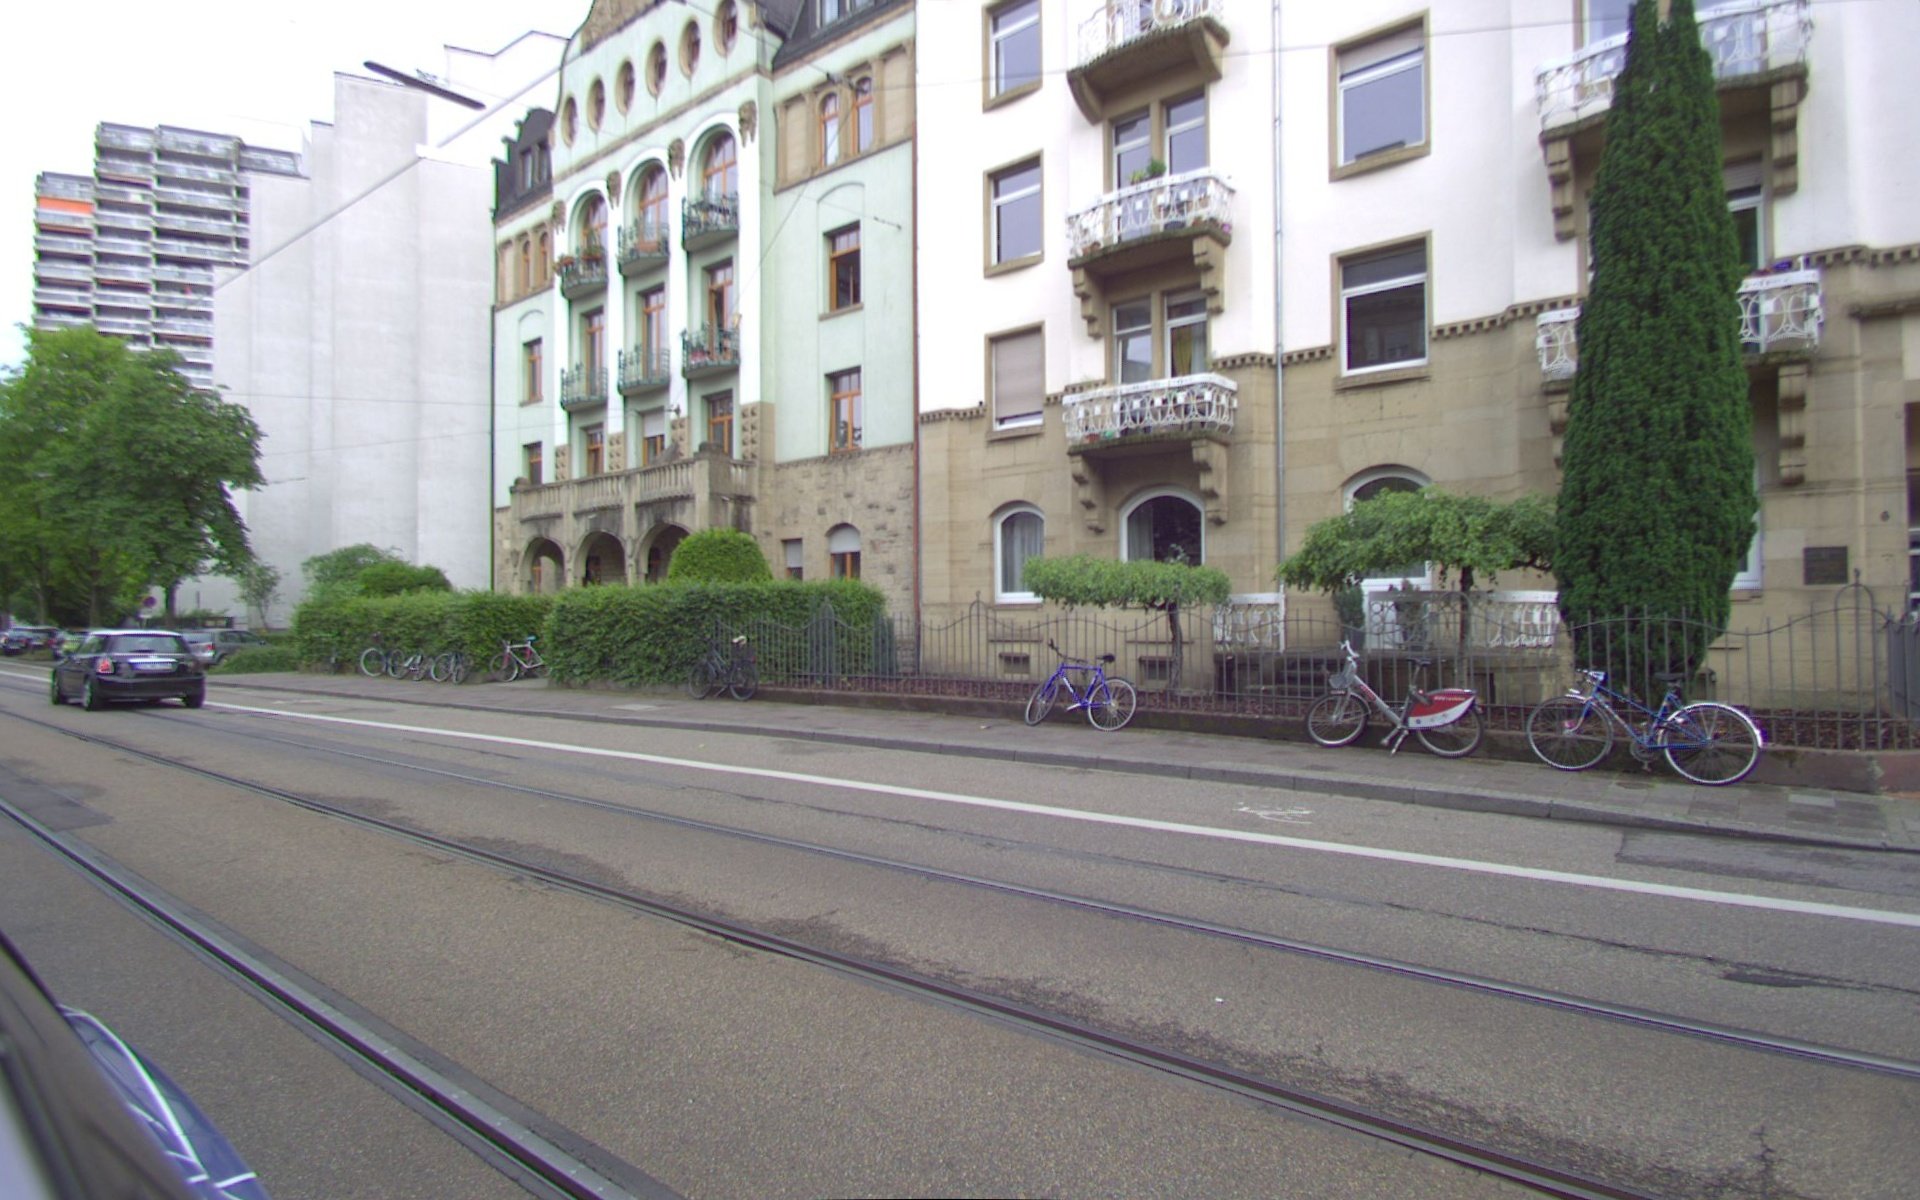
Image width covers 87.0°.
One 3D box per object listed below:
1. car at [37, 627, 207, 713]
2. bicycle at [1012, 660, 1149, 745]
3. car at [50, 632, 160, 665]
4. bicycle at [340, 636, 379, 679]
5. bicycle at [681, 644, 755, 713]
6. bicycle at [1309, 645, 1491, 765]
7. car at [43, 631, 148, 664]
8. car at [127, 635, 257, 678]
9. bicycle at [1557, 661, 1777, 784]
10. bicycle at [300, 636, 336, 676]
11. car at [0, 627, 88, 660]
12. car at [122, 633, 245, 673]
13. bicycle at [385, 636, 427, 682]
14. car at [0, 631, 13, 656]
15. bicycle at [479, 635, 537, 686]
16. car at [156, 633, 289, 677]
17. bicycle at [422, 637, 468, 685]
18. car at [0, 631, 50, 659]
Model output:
[{"bbox_3d":[-15.387,1.228,18.539,3.480,1.433,1.594,-1,-3,37],"label":"car"},{"bbox_3d":[1.483,1.249,12.610,1.660,0.935,0.354,-3,-22,42],"label":"bicycle"},{"bbox_3d":[-37.676,2.109,44.724,1.670,1.405,4.004,0,-2,-4],"label":"car"},{"bbox_3d":[-15.786,1.488,26.587,1.545,1.092,0.356,-2,-2,39],"label":"bicycle"},{"bbox_3d":[-4.093,1.303,17.054,1.545,1.092,0.356,-2,-2,39],"label":"bicycle"},{"bbox_3d":[4.341,1.011,10.036,1.617,1.110,0.382,-1,-2,28],"label":"bicycle"},{"bbox_3d":[-39.893,2.150,46.829,1.670,1.453,4.004,0,-2,-4],"label":"car"},{"bbox_3d":[-27.386,1.985,36.254,1.671,1.414,4.000,0,-2,-1],"label":"car"},{"bbox_3d":[6.047,1.015,8.717,1.513,0.945,0.329,-2,-2,39],"label":"bicycle"},{"bbox_3d":[-17.919,1.559,28.243,1.545,1.092,0.356,-2,-2,39],"label":"bicycle"},{"bbox_3d":[-47.743,2.247,52.569,1.670,1.632,4.004,0,-2,-4],"label":"car"},{"bbox_3d":[-29.530,1.978,38.639,1.671,1.414,4.000,0,-2,-1],"label":"car"},{"bbox_3d":[-13.566,1.439,24.771,1.545,1.092,0.356,-2,-2,39],"label":"bicycle"},{"bbox_3d":[-65.643,2.913,67.353,1.670,1.632,4.004,0,-2,-4],"label":"car"},{"bbox_3d":[-10.446,1.376,23.402,0.300,1.091,1.190,-2,0,40],"label":"bicycle"},{"bbox_3d":[-25.082,1.837,34.608,1.671,1.414,4.000,0,-2,-1],"label":"car"},{"bbox_3d":[-11.918,1.394,23.399,1.545,1.092,0.356,-2,-2,39],"label":"bicycle"},{"bbox_3d":[-57.802,2.722,61.434,1.670,1.632,4.004,0,-2,-4],"label":"car"}]
